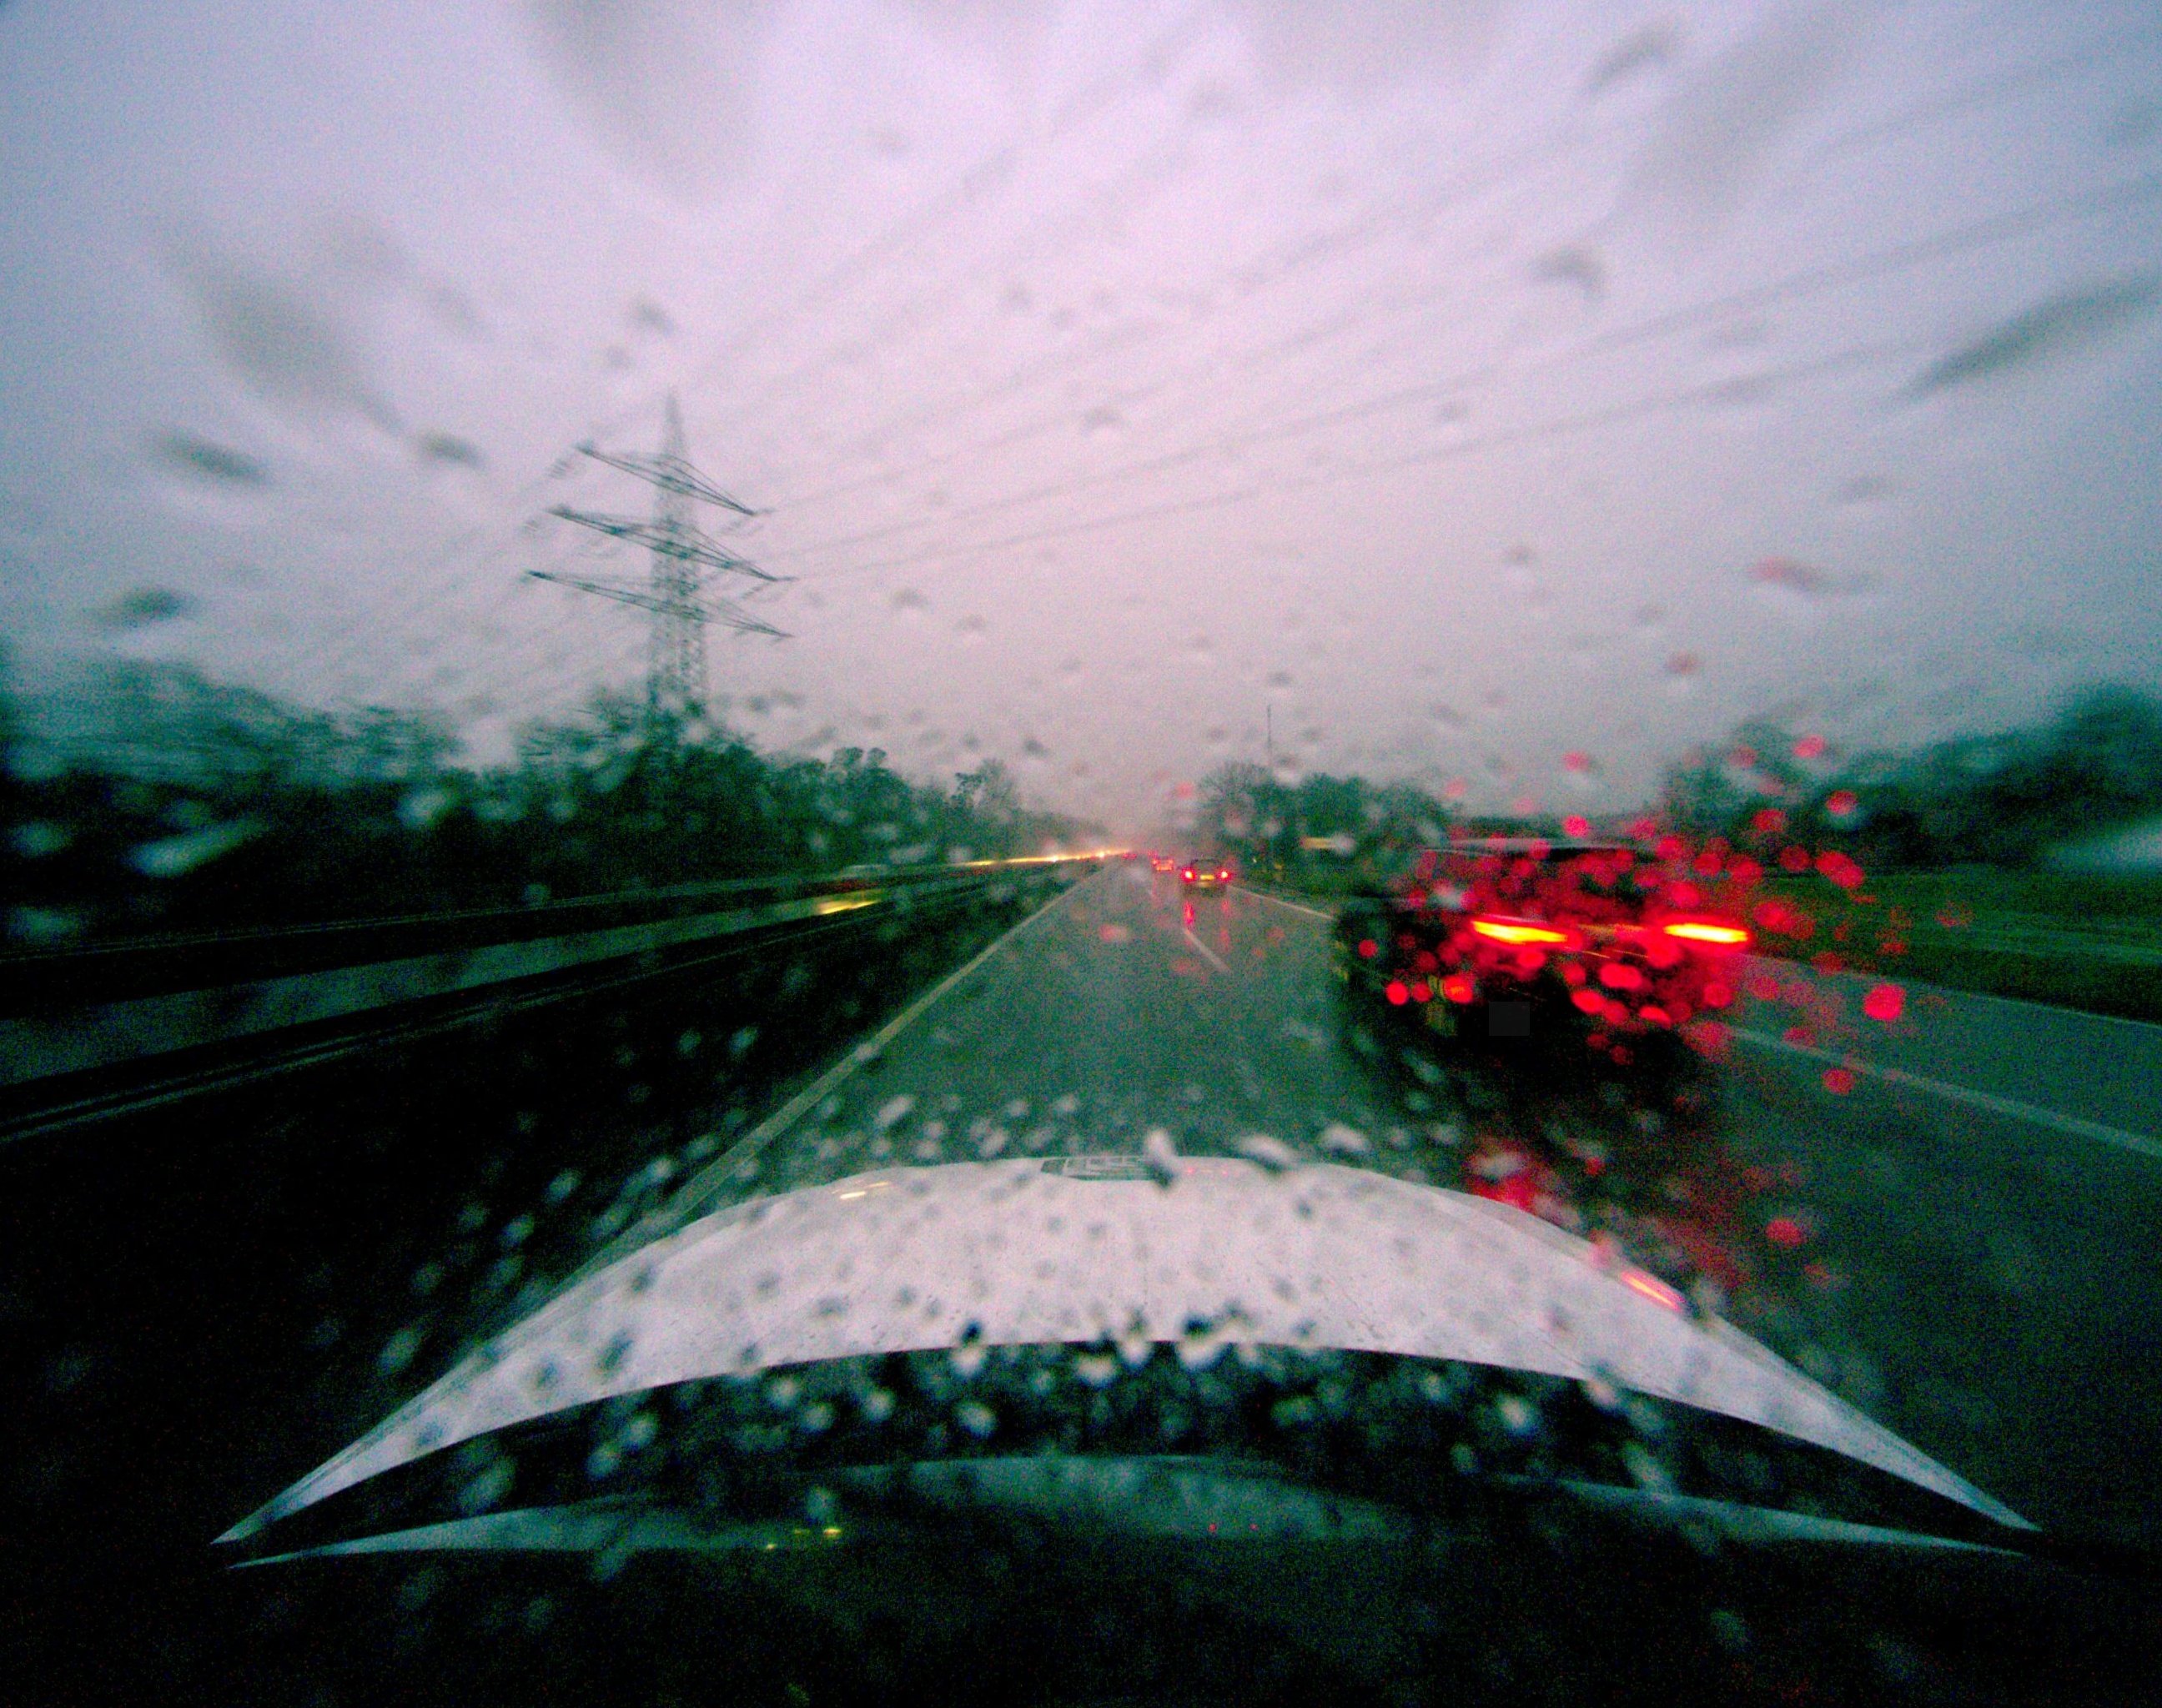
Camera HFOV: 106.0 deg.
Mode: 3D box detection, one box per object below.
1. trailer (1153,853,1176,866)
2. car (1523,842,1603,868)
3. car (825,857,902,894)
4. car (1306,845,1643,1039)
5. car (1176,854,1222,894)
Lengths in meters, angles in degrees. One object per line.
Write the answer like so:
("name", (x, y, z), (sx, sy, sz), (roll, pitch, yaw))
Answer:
("trailer", (6.763, 0.456, 65.801), (1.740, 0.925, 2.954), (-2, 0, 4))
("car", (27.399, 0.058, 46.434), (3.772, 1.434, 1.804), (-1, 0, 27))
("car", (-9.463, 0.899, 35.842), (1.918, 1.439, 4.553), (-1, 0, 3))
("car", (3.646, 0.689, 8.361), (1.672, 1.509, 3.810), (-1, 0, 1))
("car", (4.726, 0.773, 32.881), (1.587, 1.491, 3.599), (-1, 0, 4))
